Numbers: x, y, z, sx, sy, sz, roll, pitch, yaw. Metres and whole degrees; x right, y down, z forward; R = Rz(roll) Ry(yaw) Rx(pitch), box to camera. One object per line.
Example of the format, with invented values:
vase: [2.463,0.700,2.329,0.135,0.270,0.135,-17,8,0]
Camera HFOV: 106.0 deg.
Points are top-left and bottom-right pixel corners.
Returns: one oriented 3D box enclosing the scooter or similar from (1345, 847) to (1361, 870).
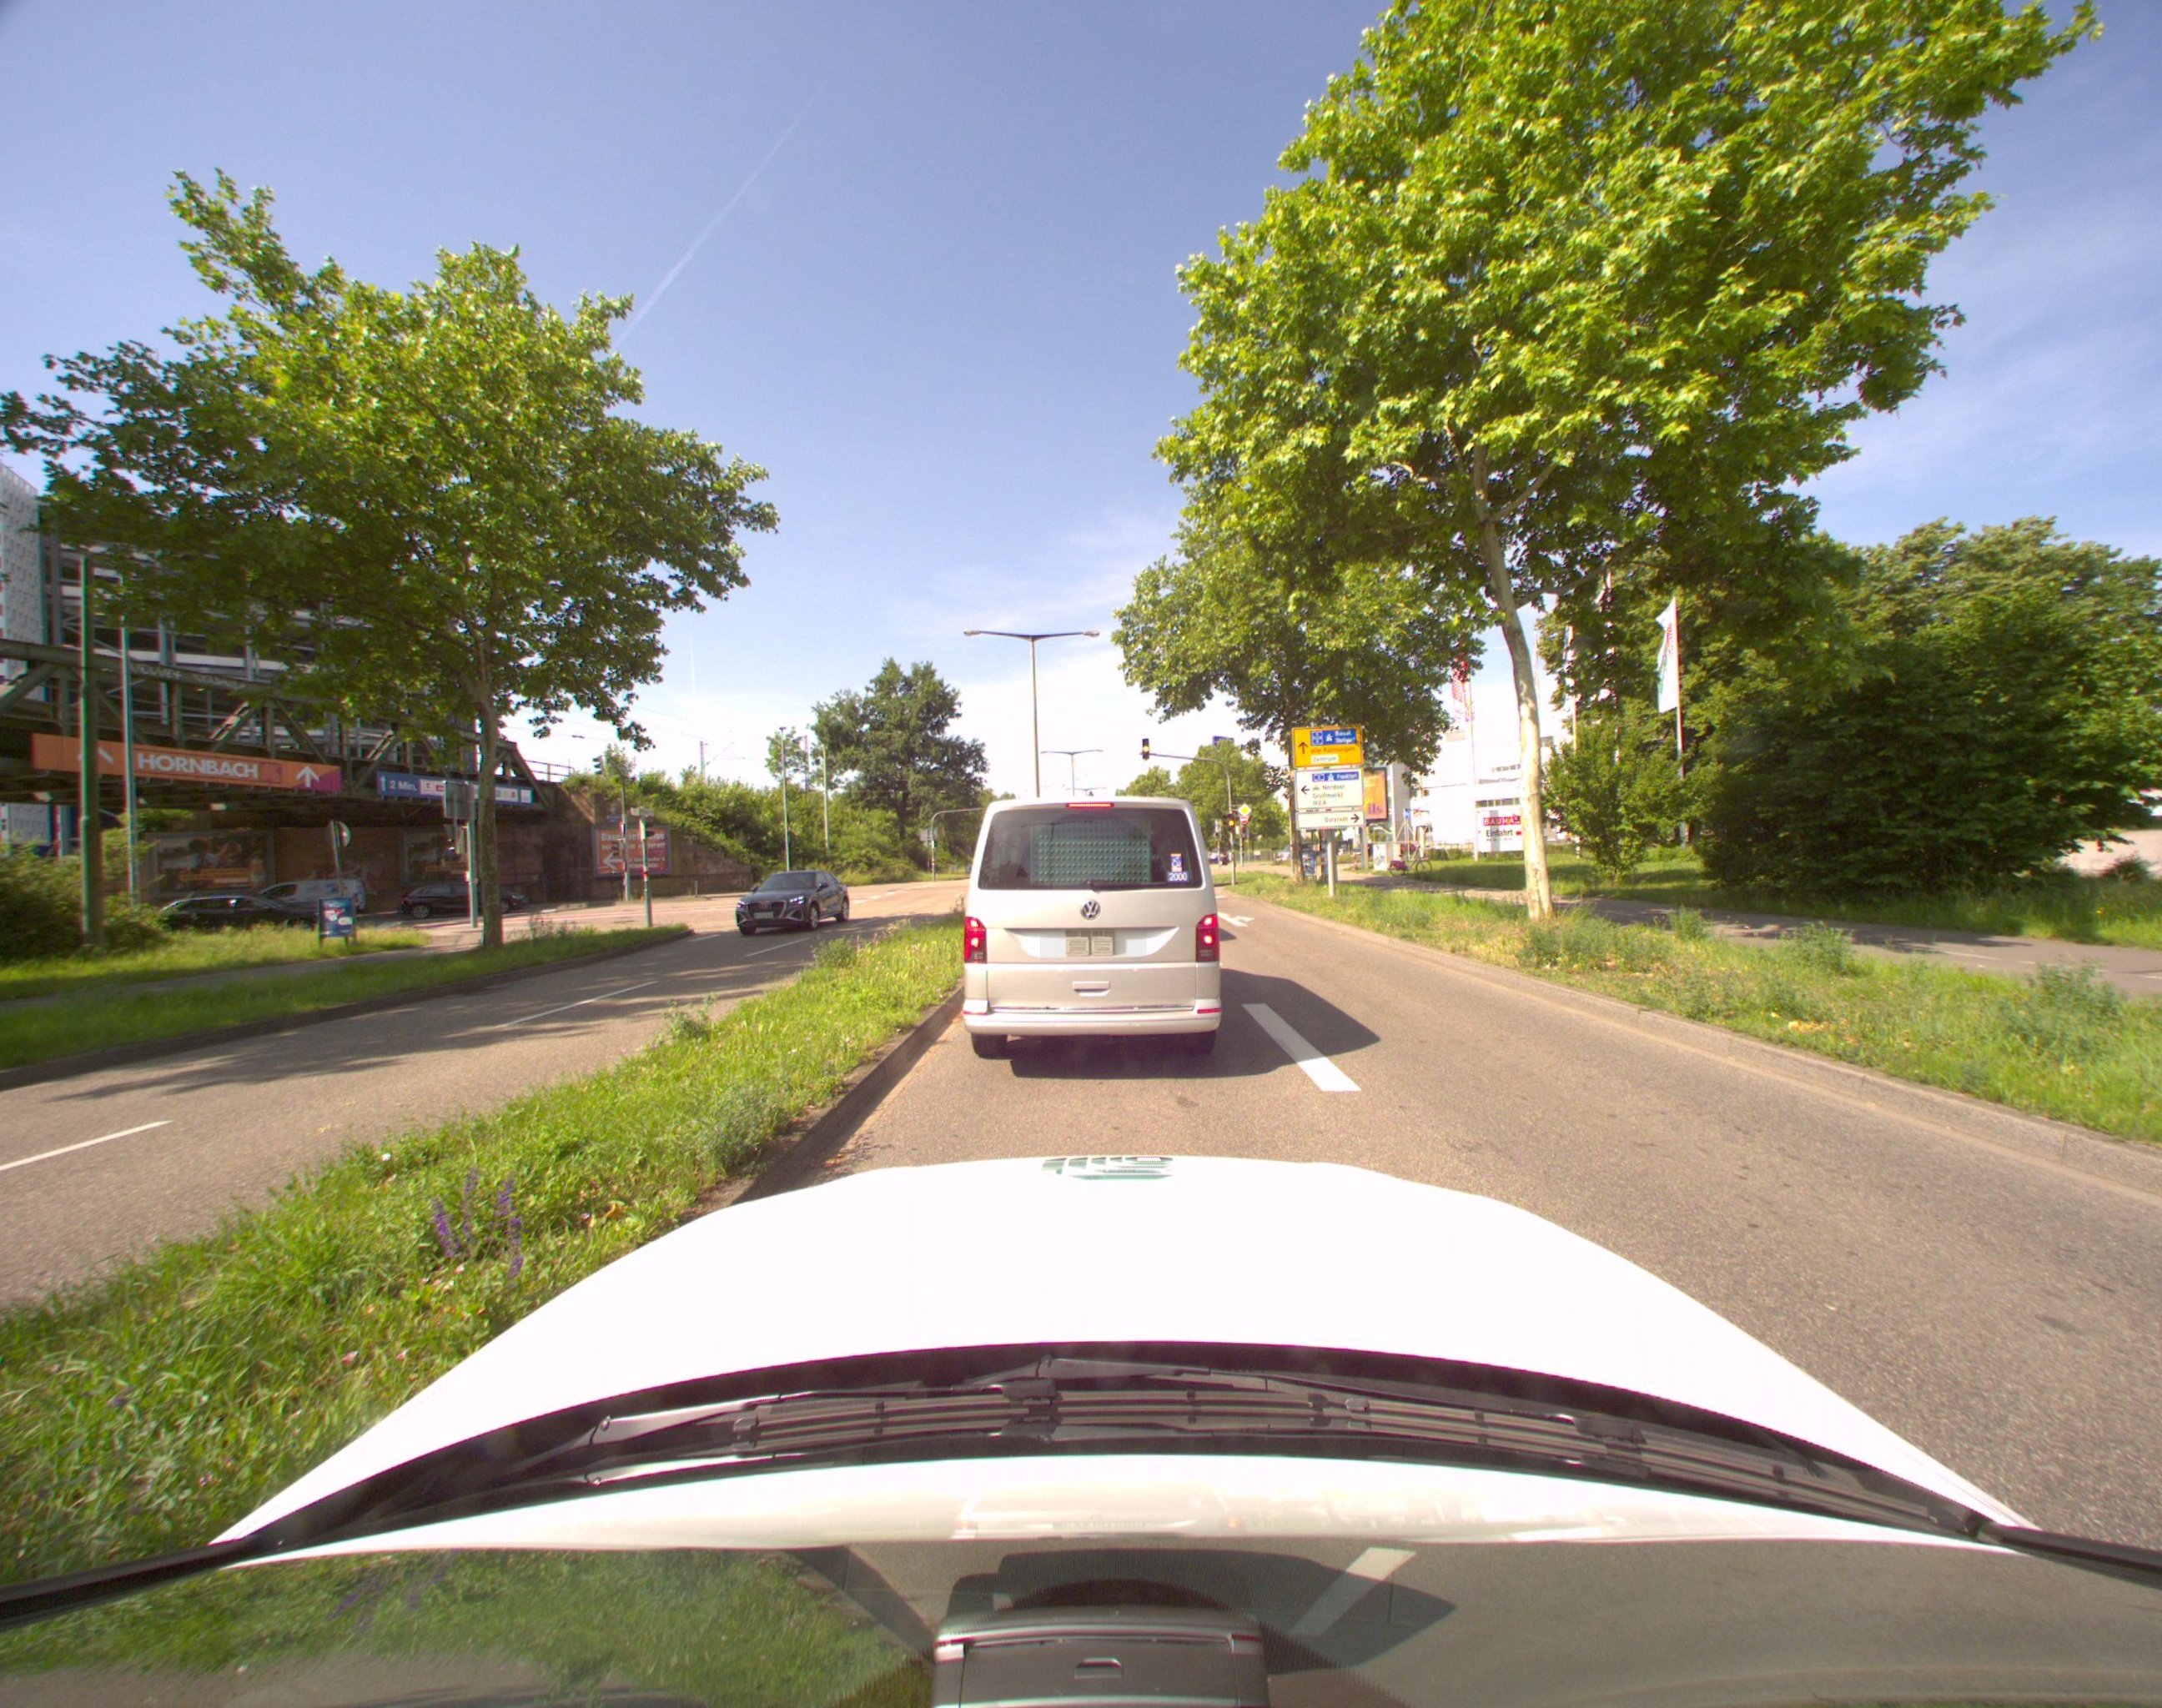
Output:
scooter or similar: [14.113,0.234,42.212,0.423,1.126,1.124,-3,0,1]

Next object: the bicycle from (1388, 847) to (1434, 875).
bicycle: [14.197,0.295,35.074,1.771,1.108,0.506,-4,-1,20]

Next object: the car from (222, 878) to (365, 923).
car: [-33.435,1.931,34.745,4.113,1.649,1.752,-2,-1,-35]

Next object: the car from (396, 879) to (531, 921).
car: [-25.653,1.873,34.035,4.353,1.395,1.752,-3,0,-35]

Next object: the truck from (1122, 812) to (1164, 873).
truck: [4.388,-0.754,59.242,2.543,3.957,8.977,-2,0,2]

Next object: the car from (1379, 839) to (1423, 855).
car: [31.999,-0.711,81.466,4.646,1.444,1.762,-3,0,-35]

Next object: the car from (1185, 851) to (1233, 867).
car: [13.591,0.514,86.602,4.566,1.444,1.793,-3,0,34]

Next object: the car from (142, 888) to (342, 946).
car: [-25.535,1.870,25.002,3.959,1.481,1.804,-1,-1,-34]

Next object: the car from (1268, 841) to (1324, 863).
car: [18.110,-0.188,68.517,4.646,1.689,1.895,-3,0,-35]

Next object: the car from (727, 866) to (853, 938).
car: [-7.348,1.153,20.999,1.859,1.467,3.934,-4,1,-3]

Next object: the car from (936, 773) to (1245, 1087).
car: [0.140,0.499,7.768,1.934,1.971,5.024,-2,0,2]
